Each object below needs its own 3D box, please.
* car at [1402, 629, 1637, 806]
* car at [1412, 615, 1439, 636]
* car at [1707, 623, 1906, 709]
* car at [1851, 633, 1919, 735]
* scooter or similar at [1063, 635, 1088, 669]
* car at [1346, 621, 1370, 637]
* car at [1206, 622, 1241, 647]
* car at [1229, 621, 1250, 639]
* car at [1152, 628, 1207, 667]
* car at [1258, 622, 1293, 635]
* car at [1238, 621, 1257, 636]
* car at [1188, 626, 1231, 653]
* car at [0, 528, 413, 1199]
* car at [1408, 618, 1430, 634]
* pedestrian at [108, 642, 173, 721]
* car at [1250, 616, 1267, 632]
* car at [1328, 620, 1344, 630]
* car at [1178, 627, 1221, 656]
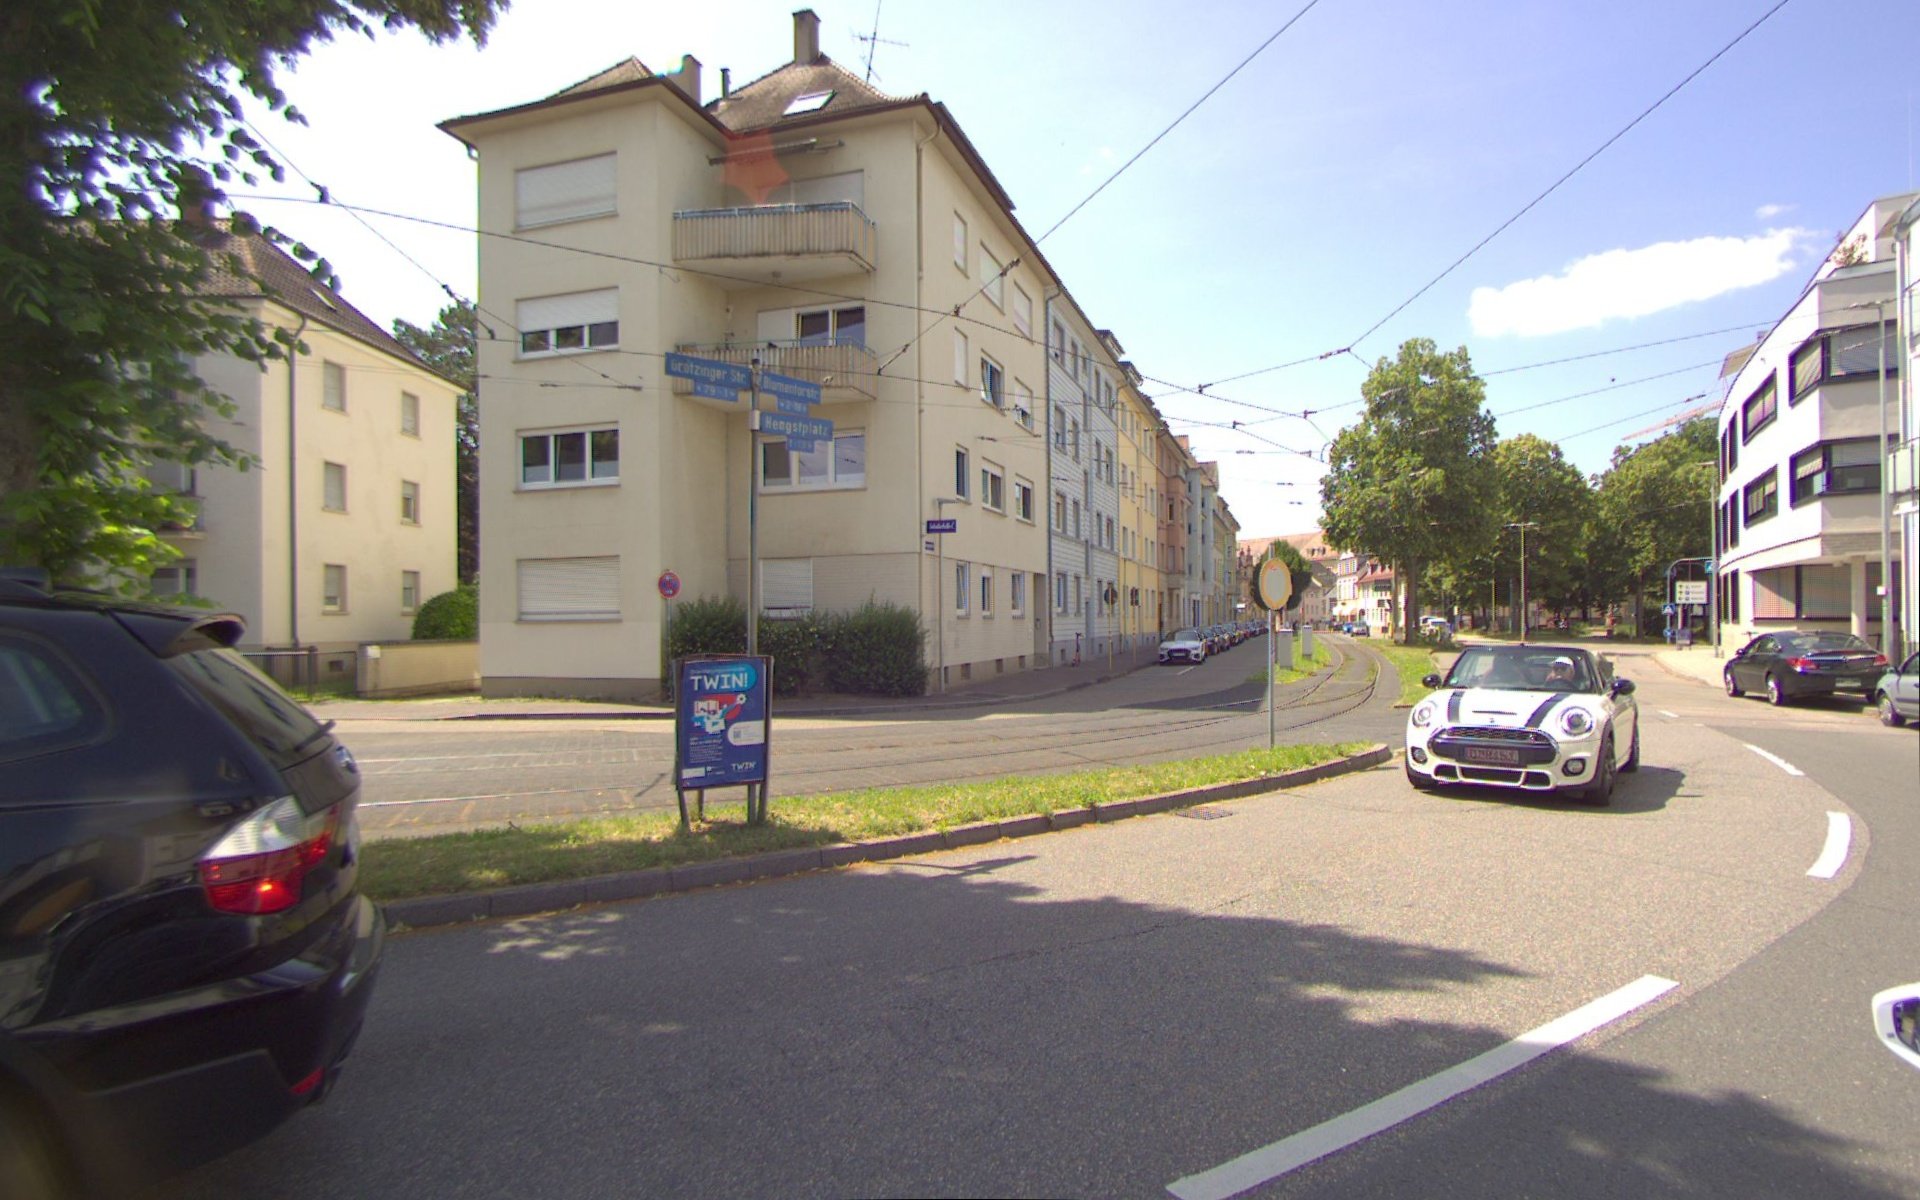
[{"bbox_3d":[5.937,1.054,10.443,1.750,1.483,3.735,-1,-2,35],"label":"car"},{"bbox_3d":[46.960,2.560,101.418,2.015,2.029,5.248,0,-1,20],"label":"car"},{"bbox_3d":[17.598,1.336,21.175,1.771,1.529,4.546,-5,-3,22],"label":"car"},{"bbox_3d":[15.052,1.227,14.903,1.568,1.451,3.704,-5,-3,24],"label":"car"},{"bbox_3d":[4.371,1.943,38.003,0.627,1.239,1.321,1,-1,19],"label":"scooter or similar"},{"bbox_3d":[40.028,2.864,101.079,1.871,1.554,4.245,1,-1,17],"label":"car"},{"bbox_3d":[17.784,2.297,67.692,1.896,1.510,4.863,-2,-2,19],"label":"car"},{"bbox_3d":[24.222,2.601,87.045,1.545,1.470,3.626,-2,-1,19],"label":"car"},{"bbox_3d":[9.459,2.003,43.059,1.896,1.470,4.377,-3,-2,17],"label":"car"},{"bbox_3d":[40.614,3.625,129.493,4.132,1.525,2.005,-2,-1,15],"label":"car"},{"bbox_3d":[29.089,2.869,101.511,1.658,1.378,3.858,-2,-2,19],"label":"car"},{"bbox_3d":[14.458,2.261,57.974,1.896,1.416,4.863,-2,-2,20],"label":"car"},{"bbox_3d":[-3.554,0.694,2.013,4.277,1.653,1.848,1,-3,-30],"label":"car"},{"bbox_3d":[49.573,2.824,108.541,1.754,1.645,4.485,0,-1,20],"label":"car"},{"bbox_3d":[-17.151,1.688,21.040,0.730,1.580,0.777,0,0,-2],"label":"pedestrian"},{"bbox_3d":[37.083,2.941,124.643,1.823,1.936,4.772,-2,-1,19],"label":"car"},{"bbox_3d":[59.075,3.870,157.750,1.829,1.506,4.003,0,-1,12],"label":"car"},{"bbox_3d":[12.636,2.165,52.844,1.800,1.418,4.142,-2,-1,19],"label":"car"}]
